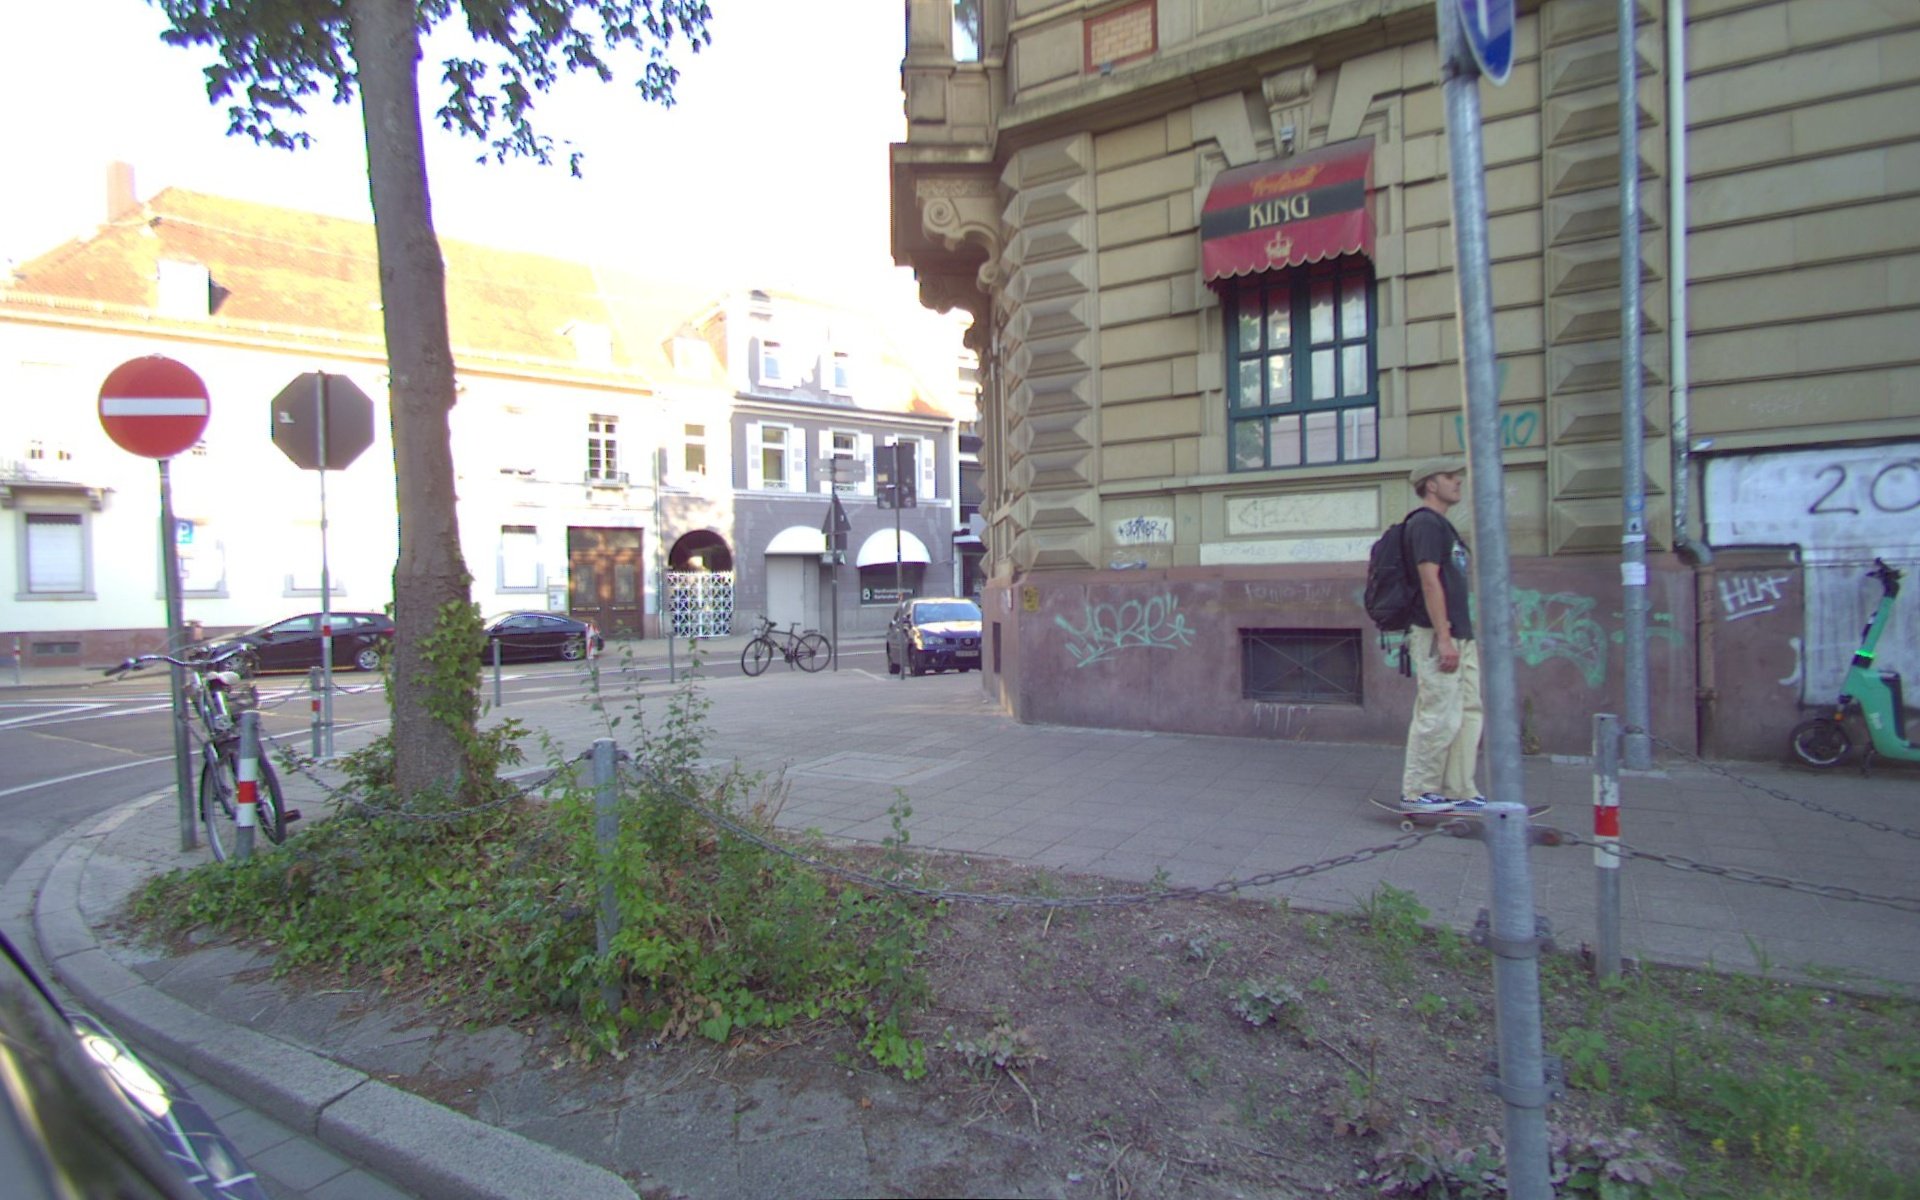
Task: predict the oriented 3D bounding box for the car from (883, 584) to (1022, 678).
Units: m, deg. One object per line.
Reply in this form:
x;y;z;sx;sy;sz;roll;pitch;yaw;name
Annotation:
-0.254;0.606;18.283;1.712;1.472;3.872;-2;-3;-12;car

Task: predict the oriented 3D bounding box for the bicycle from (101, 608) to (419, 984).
-3.353;0.700;4.698;0.833;1.277;2.575;0;-1;-43;bicycle

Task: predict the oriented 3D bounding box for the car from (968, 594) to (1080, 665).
1.451;0.736;24.867;1.741;1.523;4.637;-2;-2;-8;car

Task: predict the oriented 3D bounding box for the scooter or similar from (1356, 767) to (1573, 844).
2.422;0.977;4.879;0.880;0.208;0.413;-2;1;36;scooter or similar

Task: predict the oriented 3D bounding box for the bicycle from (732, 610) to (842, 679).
-3.124;0.802;18.282;1.772;1.134;0.730;-2;-3;-28;bicycle

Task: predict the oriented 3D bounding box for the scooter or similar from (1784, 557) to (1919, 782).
5.266;0.361;5.410;1.287;1.176;0.433;-1;2;44;scooter or similar

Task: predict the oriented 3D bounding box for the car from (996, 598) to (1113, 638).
3.649;0.661;38.610;4.428;1.398;1.752;-1;0;-37;car

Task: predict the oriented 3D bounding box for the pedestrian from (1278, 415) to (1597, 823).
2.380;0.086;5.051;1.264;1.752;0.841;-2;1;36;pedestrian

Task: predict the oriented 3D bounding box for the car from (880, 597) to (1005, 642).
-0.580;0.663;35.794;4.180;1.458;1.752;-1;0;-36;car

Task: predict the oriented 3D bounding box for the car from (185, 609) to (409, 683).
-15.827;1.046;24.299;4.358;1.553;1.812;-1;-1;-36;car

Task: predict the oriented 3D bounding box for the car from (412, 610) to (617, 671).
-11.881;1.038;27.122;4.777;1.405;1.783;-1;-1;-35;car
